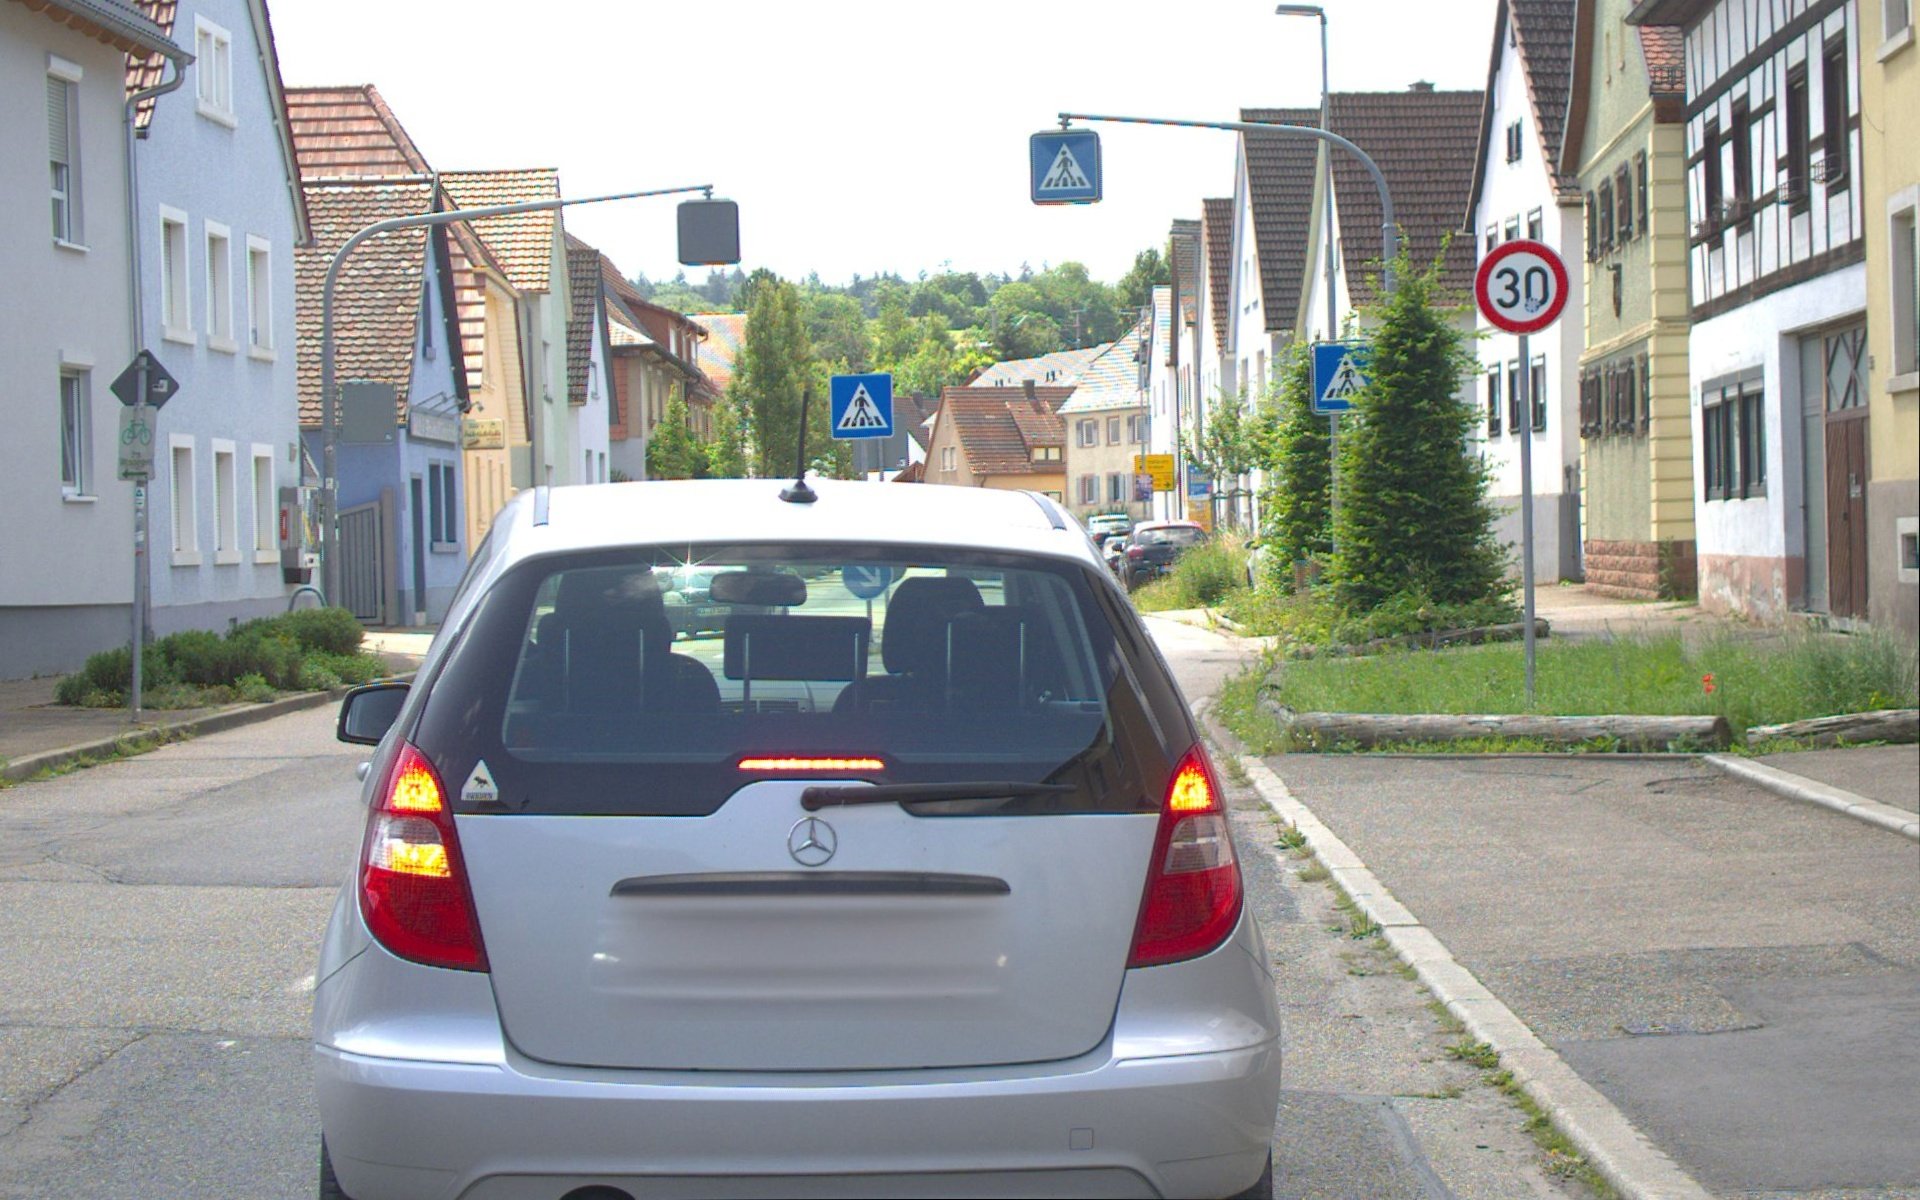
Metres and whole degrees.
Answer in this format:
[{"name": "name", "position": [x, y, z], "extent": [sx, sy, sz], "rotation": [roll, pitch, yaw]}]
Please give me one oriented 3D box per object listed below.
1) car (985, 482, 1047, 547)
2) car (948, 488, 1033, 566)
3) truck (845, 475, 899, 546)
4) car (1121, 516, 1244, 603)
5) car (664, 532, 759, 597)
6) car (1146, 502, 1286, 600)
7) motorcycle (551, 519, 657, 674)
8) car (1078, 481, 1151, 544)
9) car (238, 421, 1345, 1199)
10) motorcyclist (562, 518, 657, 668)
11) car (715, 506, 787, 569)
[{"name": "car", "position": [1.859, -2.830, 114.551], "extent": [1.993, 2.007, 4.000], "rotation": [0, -1, 0]}, {"name": "car", "position": [0.726, -1.787, 85.037], "extent": [1.993, 1.810, 4.000], "rotation": [0, -1, -1]}, {"name": "truck", "position": [-3.440, -3.471, 135.000], "extent": [1.993, 2.528, 6.739], "rotation": [0, -1, -1]}, {"name": "car", "position": [4.027, -0.712, 62.787], "extent": [1.993, 1.503, 4.000], "rotation": [0, -1, 0]}, {"name": "car", "position": [-5.365, -0.742, 73.854], "extent": [1.993, 1.317, 3.709], "rotation": [0, -1, -5]}, {"name": "car", "position": [4.128, -0.774, 56.027], "extent": [1.993, 1.503, 4.000], "rotation": [0, -1, 0]}, {"name": "motorcycle", "position": [-3.682, -0.055, 35.735], "extent": [0.880, 1.555, 1.967], "rotation": [0, 2, 0]}, {"name": "car", "position": [4.755, -2.684, 106.337], "extent": [1.993, 1.810, 4.000], "rotation": [0, -1, -1]}, {"name": "car", "position": [-0.485, 0.517, 7.533], "extent": [1.810, 1.638, 3.730], "rotation": [1, 1, -7]}, {"name": "motorcyclist", "position": [-3.671, -0.084, 36.089], "extent": [0.896, 1.549, 0.807], "rotation": [0, 1, 1]}, {"name": "car", "position": [-5.583, -1.663, 92.241], "extent": [1.667, 1.590, 4.000], "rotation": [0, -1, 0]}]
